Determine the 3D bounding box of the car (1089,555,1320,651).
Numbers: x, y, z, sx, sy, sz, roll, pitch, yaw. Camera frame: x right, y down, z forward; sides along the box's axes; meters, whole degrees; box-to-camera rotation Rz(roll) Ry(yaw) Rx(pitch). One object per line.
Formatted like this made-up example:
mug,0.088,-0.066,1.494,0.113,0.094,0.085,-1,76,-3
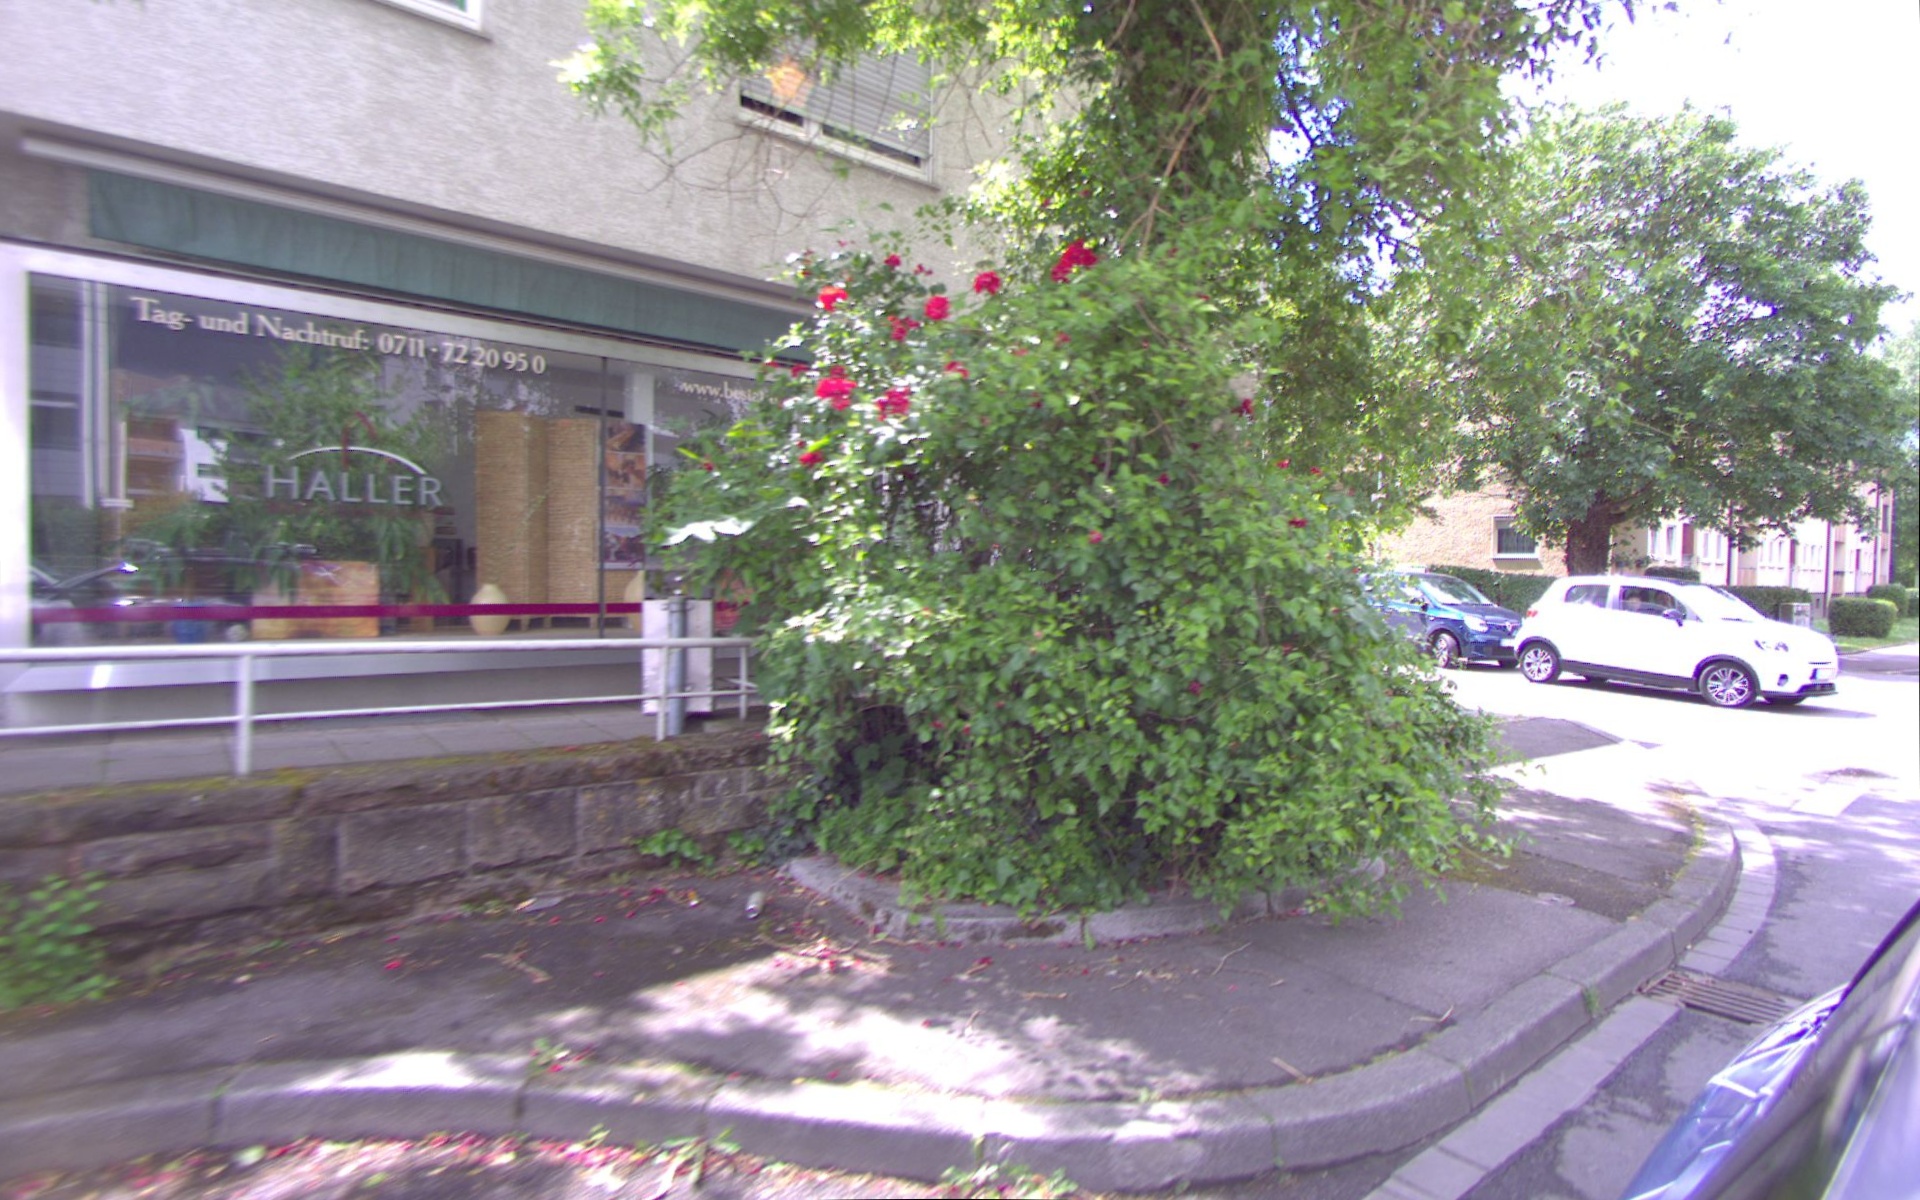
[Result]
car,4.581,-0.008,19.326,3.928,1.537,1.774,4,3,45

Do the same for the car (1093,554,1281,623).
car,5.787,-0.348,26.275,1.820,1.522,4.532,0,3,-41

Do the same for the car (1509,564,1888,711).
car,9.713,0.372,13.625,1.804,1.590,3.656,0,3,-28

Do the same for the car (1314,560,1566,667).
car,8.252,0.153,17.756,1.803,1.590,3.657,1,3,-23
